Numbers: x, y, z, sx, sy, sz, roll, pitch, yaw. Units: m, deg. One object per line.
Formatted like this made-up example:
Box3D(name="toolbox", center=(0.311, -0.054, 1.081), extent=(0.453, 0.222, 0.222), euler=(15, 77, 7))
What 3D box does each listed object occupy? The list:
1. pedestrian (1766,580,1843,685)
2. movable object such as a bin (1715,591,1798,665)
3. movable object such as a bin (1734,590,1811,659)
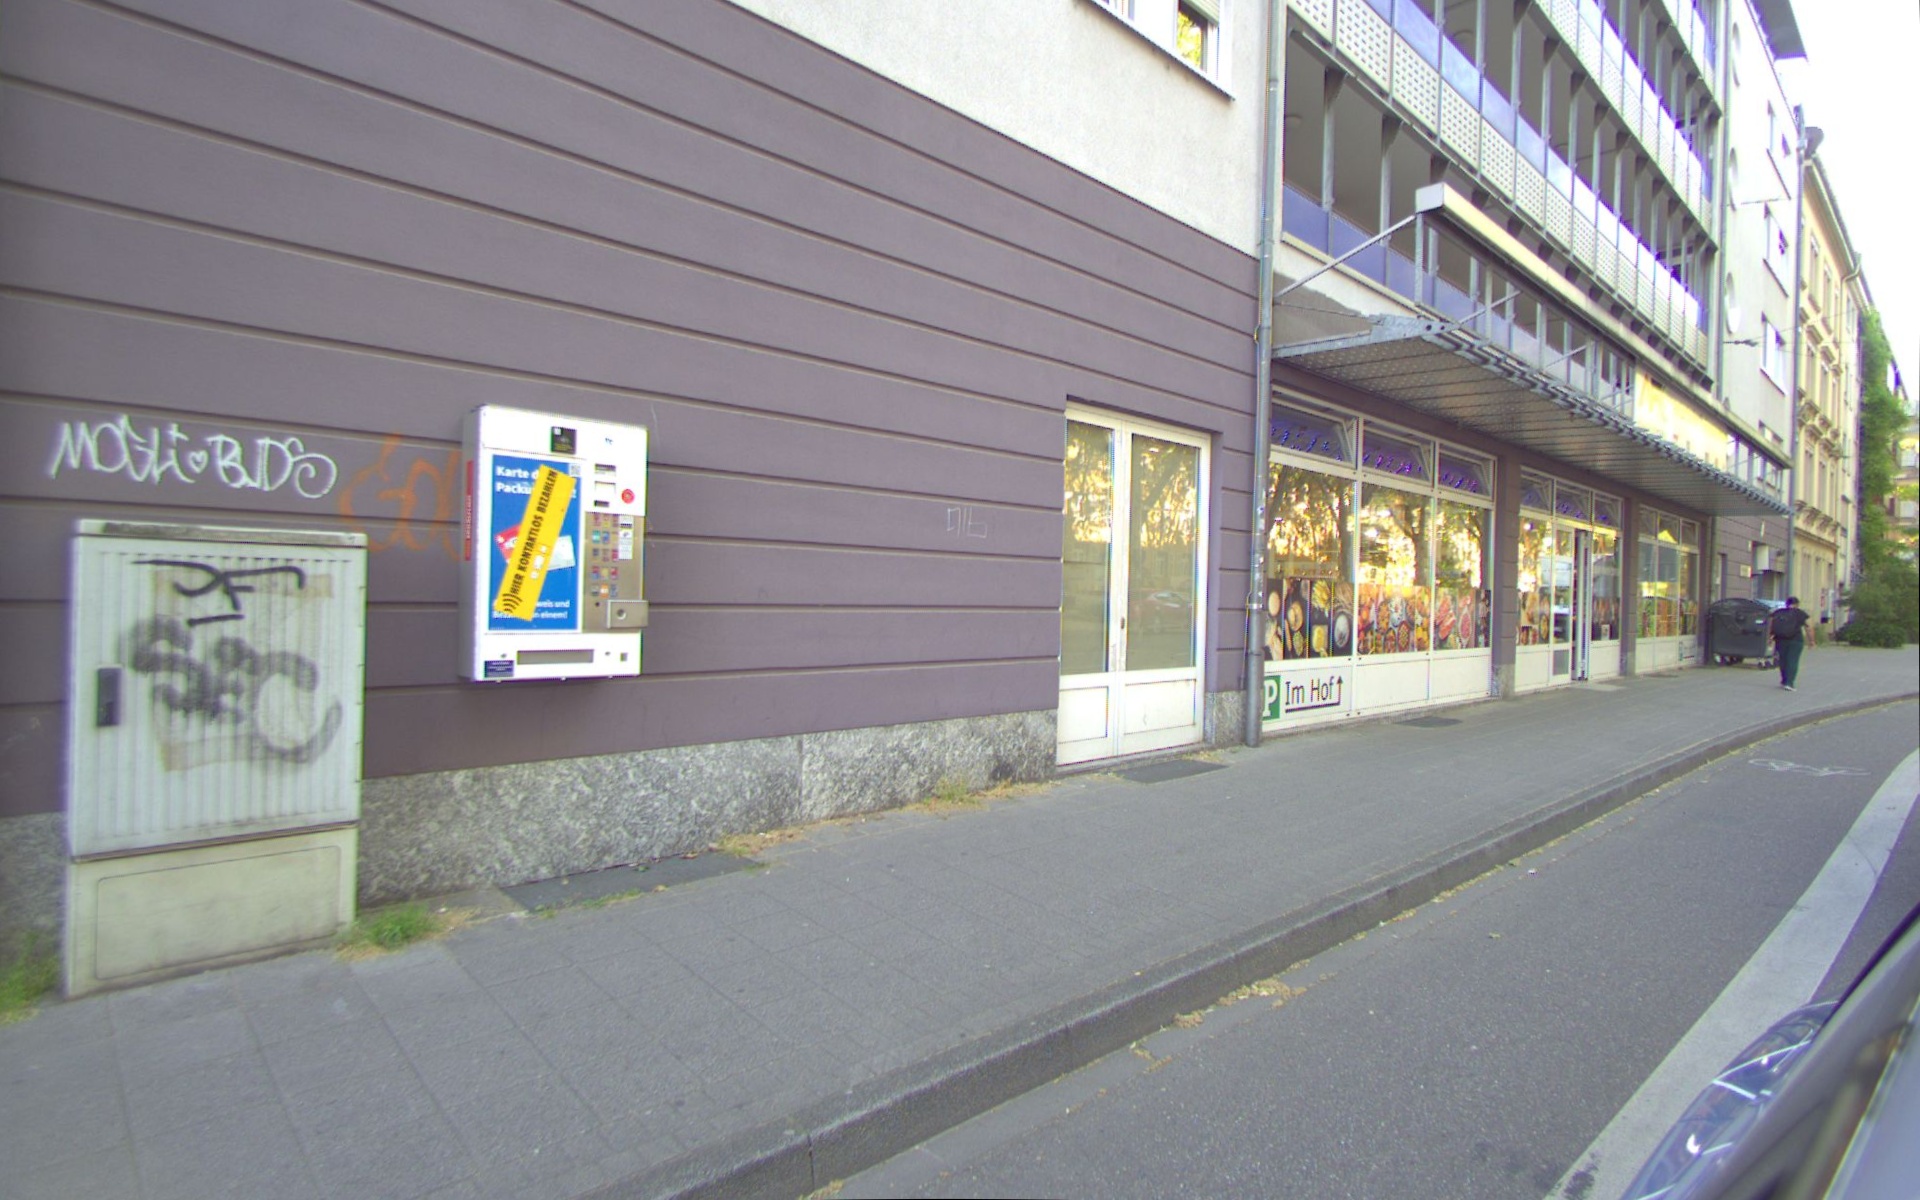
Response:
Box3D(name="pedestrian", center=(13.641, 0.499, 16.357), extent=(0.862, 1.611, 0.613), euler=(3, 2, 44))
Box3D(name="movable object such as a bin", center=(16.324, 0.551, 20.751), extent=(0.923, 1.444, 1.158), euler=(1, 1, -40))
Box3D(name="movable object such as a bin", center=(17.771, 0.516, 22.140), extent=(0.923, 1.444, 1.158), euler=(1, 1, -40))
